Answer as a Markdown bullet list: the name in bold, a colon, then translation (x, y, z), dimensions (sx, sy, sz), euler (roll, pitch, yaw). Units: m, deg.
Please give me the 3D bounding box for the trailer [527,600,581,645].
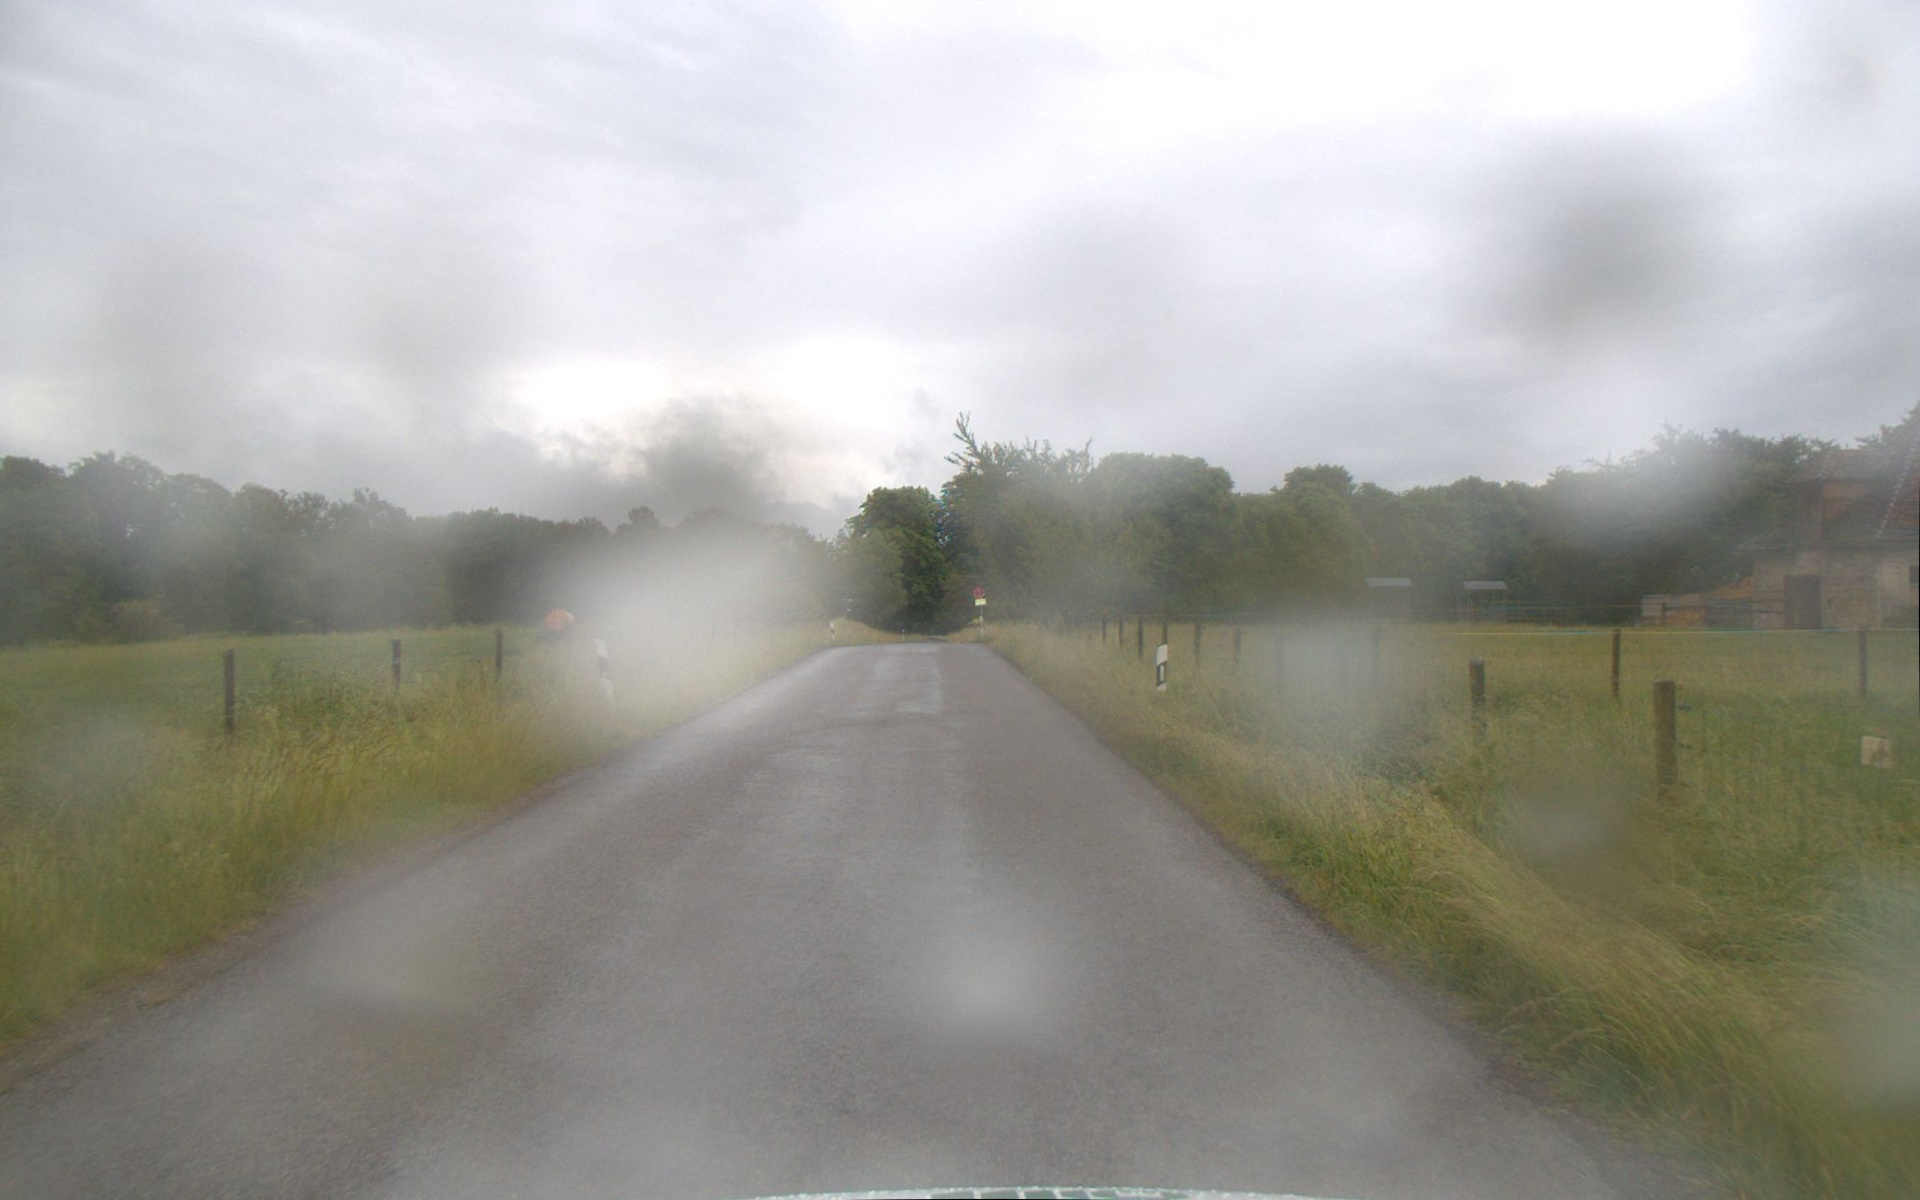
- **trailer**: translation (-14.438, 0.781, 58.928), dimensions (1.720, 1.531, 3.081), euler (-1, 1, -12)
